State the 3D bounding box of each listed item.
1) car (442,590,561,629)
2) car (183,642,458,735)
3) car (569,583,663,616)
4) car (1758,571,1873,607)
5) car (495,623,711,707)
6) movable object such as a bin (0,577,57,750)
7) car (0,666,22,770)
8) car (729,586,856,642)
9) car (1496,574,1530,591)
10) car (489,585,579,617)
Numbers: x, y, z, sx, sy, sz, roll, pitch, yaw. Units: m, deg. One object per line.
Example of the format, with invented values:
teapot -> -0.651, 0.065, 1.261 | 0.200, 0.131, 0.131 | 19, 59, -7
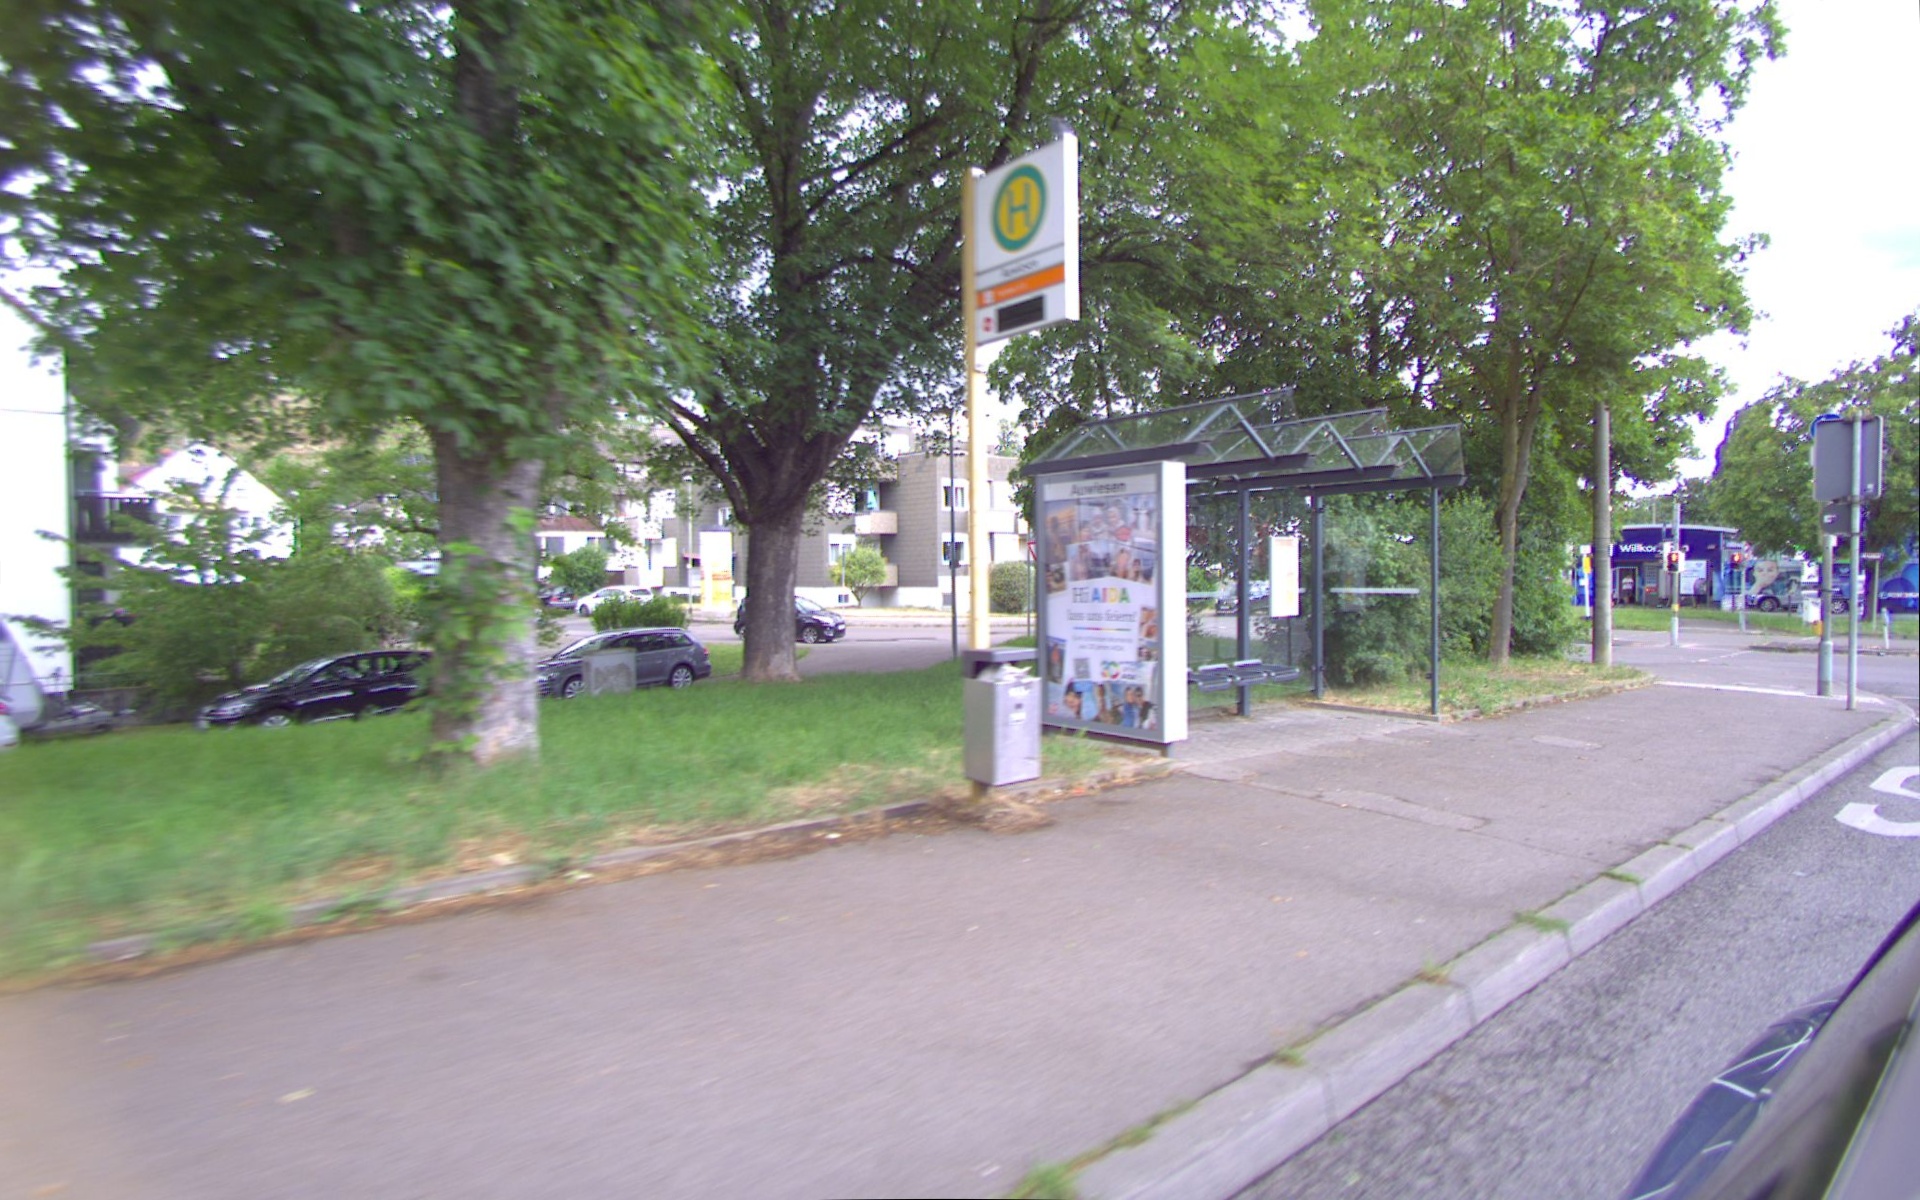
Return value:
car -> -19.102, 0.396, 42.207 | 4.412, 1.444, 1.987 | -2, 0, 20
car -> -11.165, 1.474, 17.882 | 1.618, 1.262, 3.805 | -2, 0, 38
car -> -16.553, -0.030, 48.689 | 3.952, 1.537, 1.986 | 0, 0, 21
car -> 42.958, -0.596, 50.952 | 4.182, 1.718, 1.819 | 2, 2, 33
car -> -7.672, 1.335, 22.103 | 1.656, 1.480, 4.231 | -2, 0, 38
movable object such as a bin -> -17.073, 1.055, 14.327 | 1.991, 2.656, 6.180 | -2, 0, 41
car -> -14.897, 1.705, 13.163 | 1.475, 1.403, 3.787 | -2, 0, 39
car -> -5.870, 0.482, 35.600 | 3.944, 1.788, 1.990 | -2, 0, 16
car -> 51.041, -1.594, 93.323 | 1.990, 1.483, 3.943 | -2, 0, 40
car -> -21.452, 0.027, 51.003 | 3.952, 1.537, 1.986 | 0, 0, 21
